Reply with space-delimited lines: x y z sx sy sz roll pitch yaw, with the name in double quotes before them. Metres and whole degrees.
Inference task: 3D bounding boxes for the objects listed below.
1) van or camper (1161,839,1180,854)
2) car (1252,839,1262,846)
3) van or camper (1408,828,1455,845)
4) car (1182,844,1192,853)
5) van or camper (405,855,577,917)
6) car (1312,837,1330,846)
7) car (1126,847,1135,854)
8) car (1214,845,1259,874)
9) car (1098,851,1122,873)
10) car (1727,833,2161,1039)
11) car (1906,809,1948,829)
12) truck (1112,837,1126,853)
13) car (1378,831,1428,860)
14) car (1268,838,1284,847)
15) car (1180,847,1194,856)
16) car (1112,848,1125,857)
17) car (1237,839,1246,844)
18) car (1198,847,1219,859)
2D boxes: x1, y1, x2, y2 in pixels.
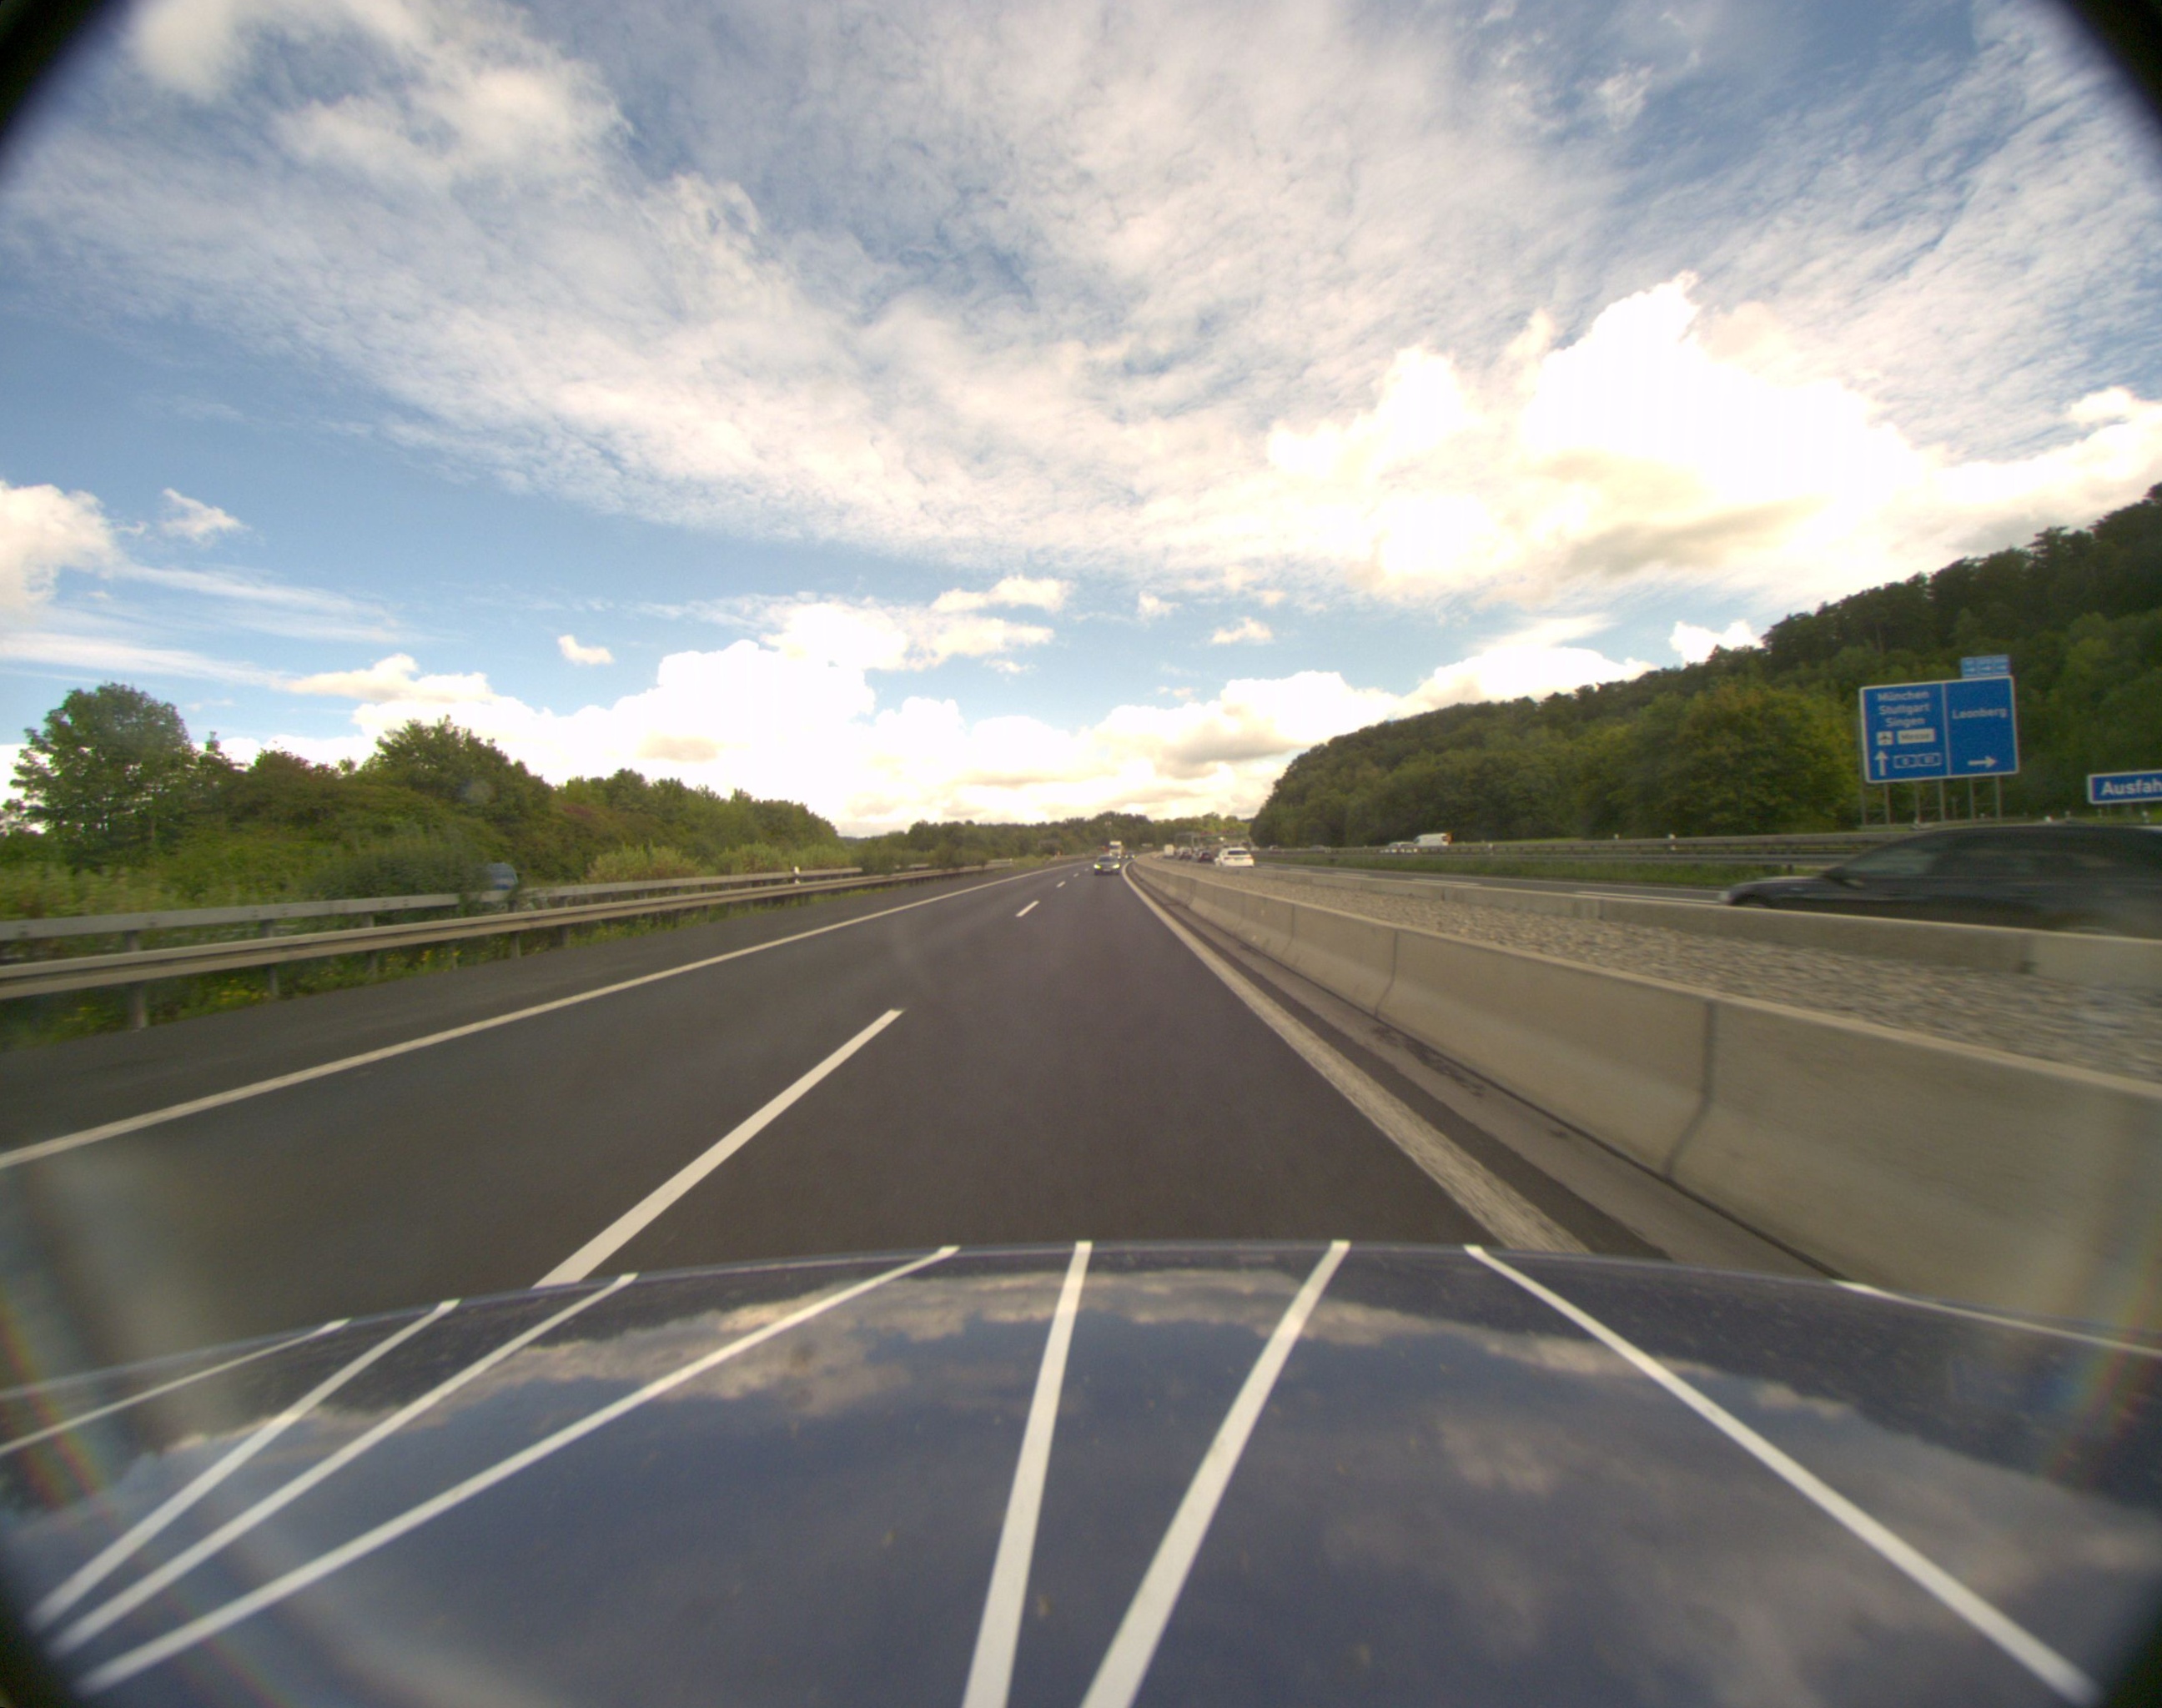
"van or camper" 18.641 -1.505 158.667 3.343 2.900 7.467 -2 1 4
"car" 44.426 -2.913 191.654 1.939 1.662 5.226 -2 1 8
"van or camper" 50.182 -2.471 108.809 2.110 2.236 5.717 -3 1 -43
"car" 23.003 -1.137 164.732 1.918 1.895 5.288 -1 1 5
"van or camper" -23.927 1.188 31.222 2.195 2.167 5.780 -2 1 5
"car" 40.669 -2.067 128.965 1.730 1.442 4.304 -2 1 2
"car" 10.761 -0.763 165.475 1.998 1.464 4.000 -2 1 2
"car" 9.526 0.282 46.966 1.847 1.601 5.135 -2 1 2
"car" 2.200 0.563 57.349 1.662 1.464 3.999 -2 2 2
"car" 8.628 0.561 6.633 1.930 1.427 4.777 -2 0 1
"car" 70.731 -2.914 63.546 1.716 1.576 4.008 -1 1 39
"truck" 9.068 -2.214 180.967 2.795 3.563 11.457 -2 2 4
"car" 26.022 -0.695 61.647 1.998 2.220 5.147 -2 0 3
"car" 41.018 -2.448 159.880 2.398 1.761 5.246 -2 0 7
"car" 18.882 -0.479 135.179 1.888 1.413 5.236 -1 1 2
"car" 6.515 -0.216 131.465 1.998 1.464 4.001 -2 0 4
"car" 47.963 -3.657 226.903 1.786 1.423 4.625 -2 1 2
"car" 16.977 -0.142 101.451 1.790 1.409 4.994 -2 0 -3
